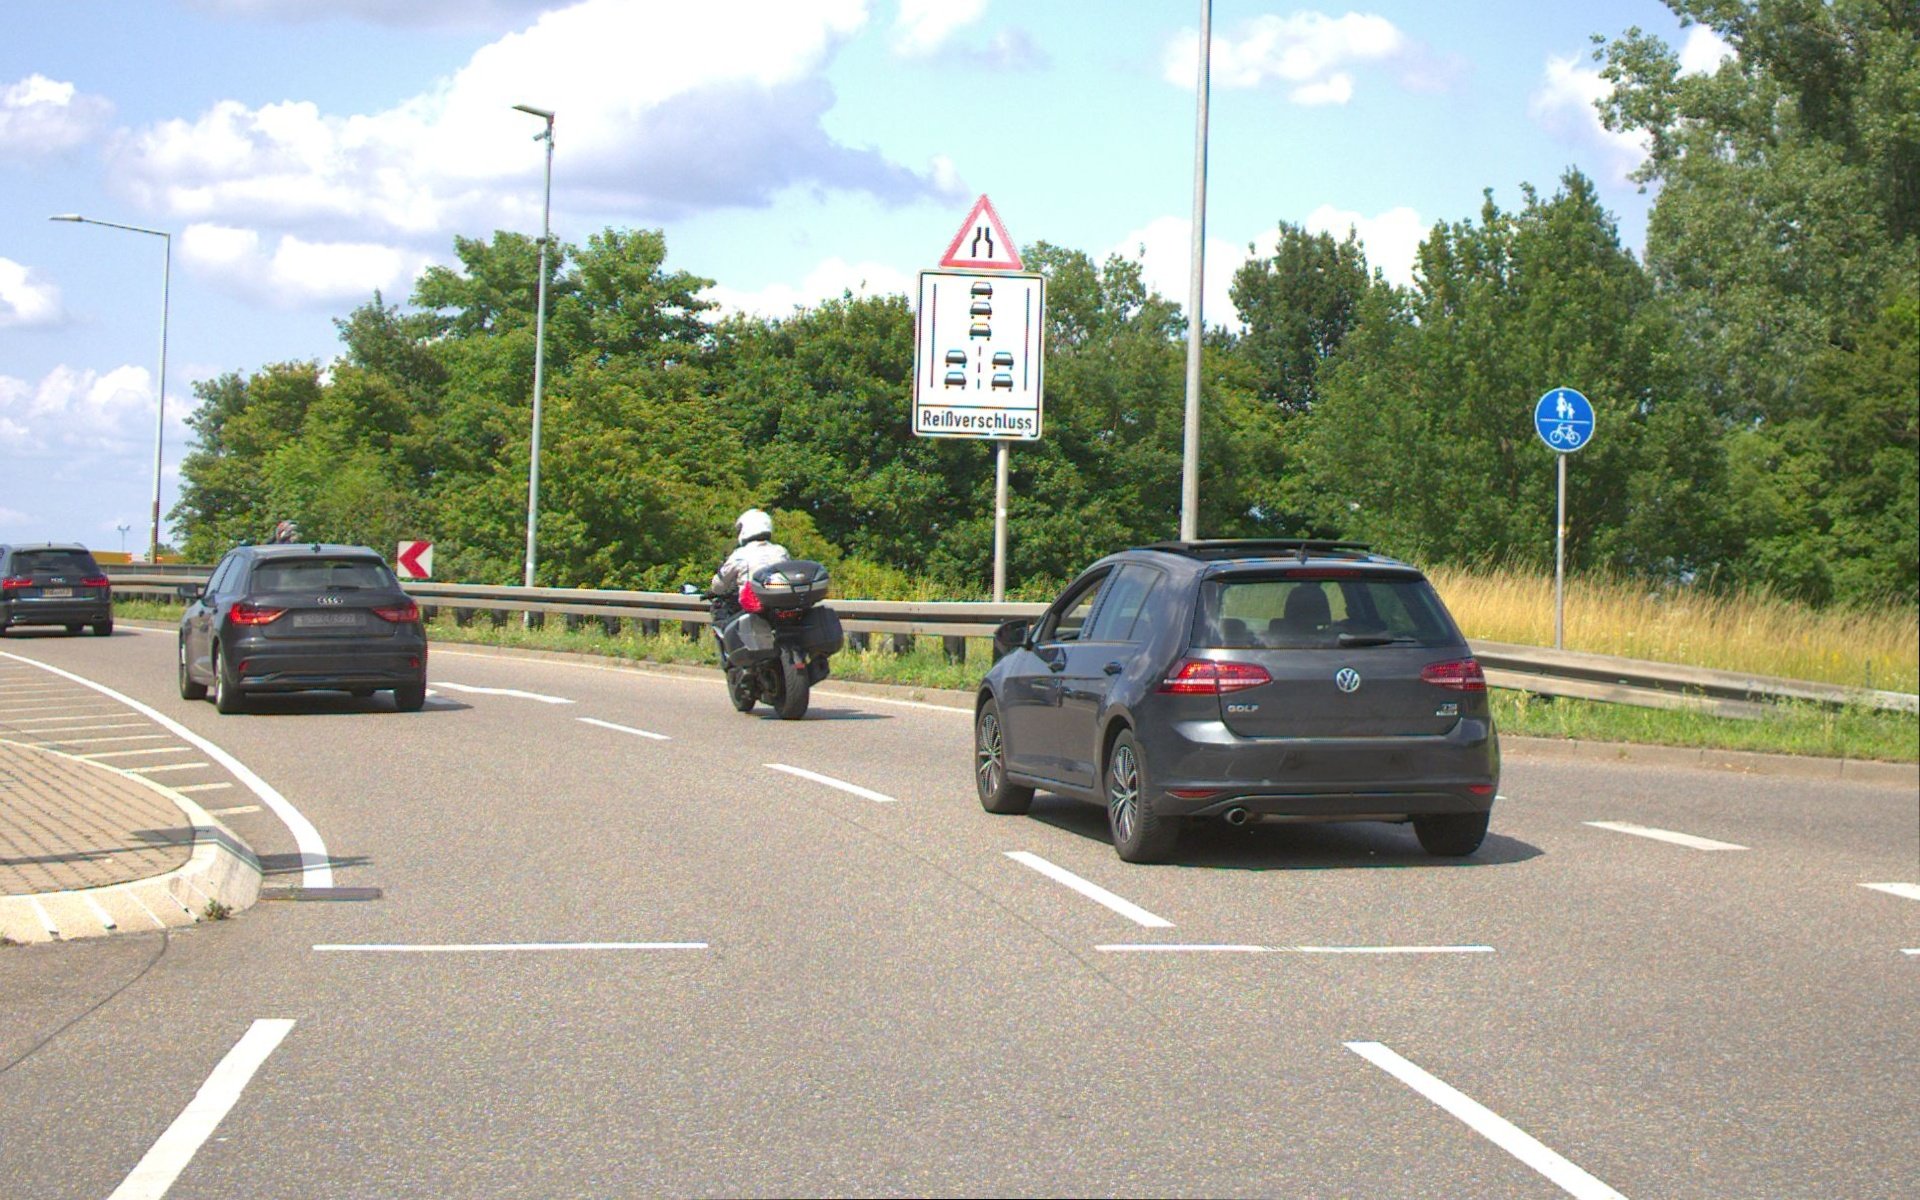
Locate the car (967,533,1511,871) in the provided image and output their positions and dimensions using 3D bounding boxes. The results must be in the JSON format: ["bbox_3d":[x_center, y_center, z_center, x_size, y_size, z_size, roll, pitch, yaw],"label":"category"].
[{"bbox_3d":[1.249,0.445,17.089,1.642,1.474,3.873,0,0,-12],"label":"car"}]

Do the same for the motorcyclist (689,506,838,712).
[{"bbox_3d":[-1.596,0.071,27.798,0.965,1.615,1.125,1,0,-15],"label":"motorcyclist"}]

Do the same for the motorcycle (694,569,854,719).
[{"bbox_3d":[-1.511,0.330,27.489,0.789,1.128,2.400,1,0,-15],"label":"motorcycle"}]

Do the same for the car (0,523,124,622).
[{"bbox_3d":[-14.162,-0.421,53.472,1.642,1.474,3.873,0,0,-23],"label":"car"}]

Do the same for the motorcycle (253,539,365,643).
[{"bbox_3d":[-8.107,-0.120,42.717,0.887,1.243,2.400,1,0,-22],"label":"motorcycle"}]

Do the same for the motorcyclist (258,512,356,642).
[{"bbox_3d":[-8.144,-0.286,42.863,0.965,1.590,1.125,1,0,-22],"label":"motorcyclist"}]

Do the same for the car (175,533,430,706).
[{"bbox_3d":[-5.729,0.159,29.665,1.681,1.383,3.740,0,0,-18],"label":"car"}]
